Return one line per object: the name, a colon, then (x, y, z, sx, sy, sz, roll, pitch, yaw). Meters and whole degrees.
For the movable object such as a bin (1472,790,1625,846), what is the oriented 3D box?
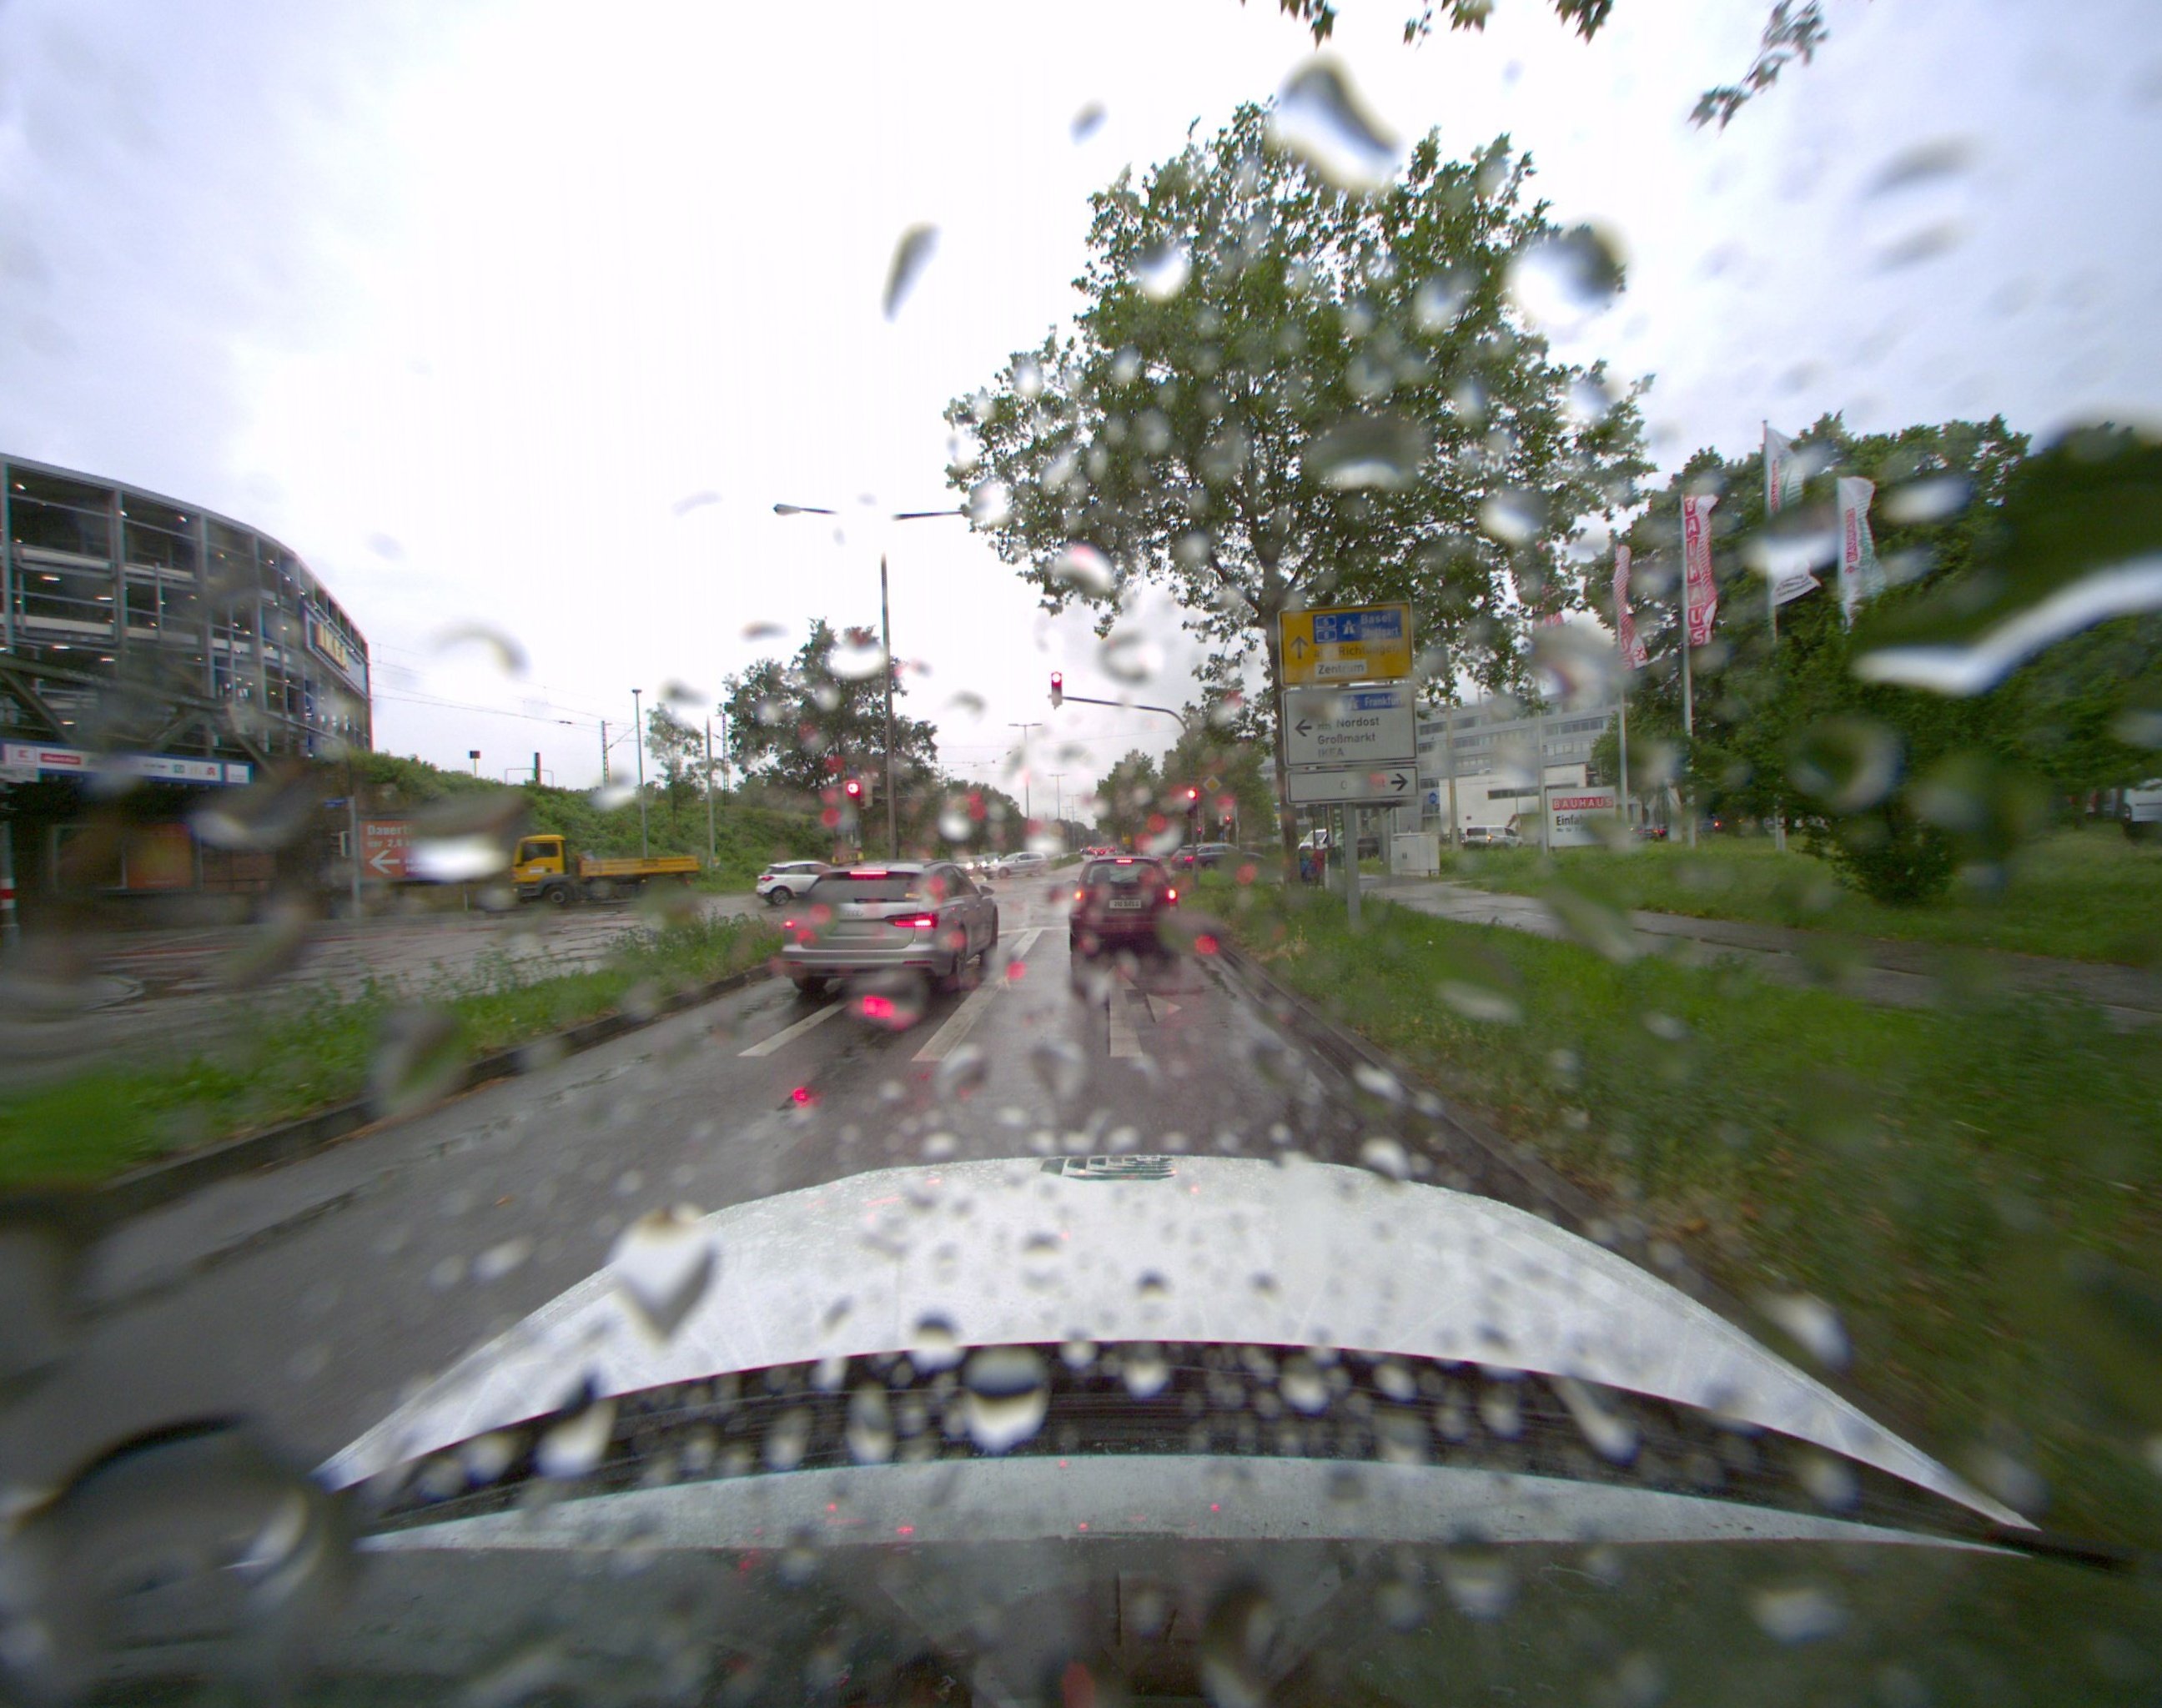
movable object such as a bin: (59.271, -4.295, 103.979, 8.296, 6.283, 14.818, 0, -1, -32)

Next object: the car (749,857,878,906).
car: (-9.668, 0.955, 29.517, 4.077, 1.521, 1.980, -2, 0, -32)

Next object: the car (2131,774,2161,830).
car: (50.051, -2.383, 34.454, 2.338, 2.434, 6.752, -2, 0, -34)

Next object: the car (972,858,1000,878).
car: (-7.971, 1.175, 68.742, 1.706, 1.530, 4.002, -2, 0, 2)

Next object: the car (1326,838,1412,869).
car: (15.400, -0.018, 43.515, 4.398, 1.537, 1.786, -2, 0, -28)

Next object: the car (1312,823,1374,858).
car: (18.995, -0.971, 58.925, 4.405, 2.190, 1.783, -5, 1, -33)

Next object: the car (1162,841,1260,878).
car: (6.216, 0.253, 38.766, 4.398, 1.537, 1.786, -2, 0, -28)

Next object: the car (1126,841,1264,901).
car: (3.727, 0.495, 26.162, 4.409, 1.537, 1.781, -5, 3, -38)

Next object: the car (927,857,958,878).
car: (-11.392, 1.090, 67.362, 1.706, 1.530, 4.002, -2, 0, 2)

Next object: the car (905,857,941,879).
car: (-11.772, 1.026, 60.828, 1.706, 1.530, 4.002, -2, 0, 2)

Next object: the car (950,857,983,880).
car: (-8.672, 1.074, 61.976, 1.706, 1.530, 4.002, -2, 0, 2)

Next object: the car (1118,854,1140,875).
car: (4.940, 1.043, 84.236, 1.986, 2.013, 4.002, -2, 0, 2)

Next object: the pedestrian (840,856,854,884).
pedestrian: (-14.860, 0.998, 51.722, 0.528, 1.786, 0.676, -1, -1, 19)

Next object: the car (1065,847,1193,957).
car: (0.752, 0.680, 13.682, 1.789, 1.537, 4.389, -1, 0, 2)

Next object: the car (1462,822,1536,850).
car: (25.564, -1.081, 49.747, 4.398, 1.537, 1.786, -2, 0, -28)

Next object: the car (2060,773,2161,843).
car: (35.114, -1.523, 26.011, 1.815, 2.153, 4.859, -2, 0, -39)

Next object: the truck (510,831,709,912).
truck: (-20.001, 0.646, 34.775, 7.080, 3.054, 2.618, -2, 0, -36)

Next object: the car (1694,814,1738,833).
car: (55.801, -2.690, 71.524, 4.405, 1.537, 1.783, -2, 0, -35)

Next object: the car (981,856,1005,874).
car: (-8.246, 1.012, 76.665, 1.706, 1.530, 4.002, -2, 0, 2)

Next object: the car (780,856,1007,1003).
car: (-2.098, 0.761, 10.474, 1.684, 1.433, 4.576, -1, 0, 2)

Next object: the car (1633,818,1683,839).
car: (46.251, -2.058, 65.244, 4.405, 1.537, 1.783, -2, 0, -34)

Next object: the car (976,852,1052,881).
car: (-3.839, 0.719, 47.182, 4.019, 1.486, 1.798, -2, 0, -37)
